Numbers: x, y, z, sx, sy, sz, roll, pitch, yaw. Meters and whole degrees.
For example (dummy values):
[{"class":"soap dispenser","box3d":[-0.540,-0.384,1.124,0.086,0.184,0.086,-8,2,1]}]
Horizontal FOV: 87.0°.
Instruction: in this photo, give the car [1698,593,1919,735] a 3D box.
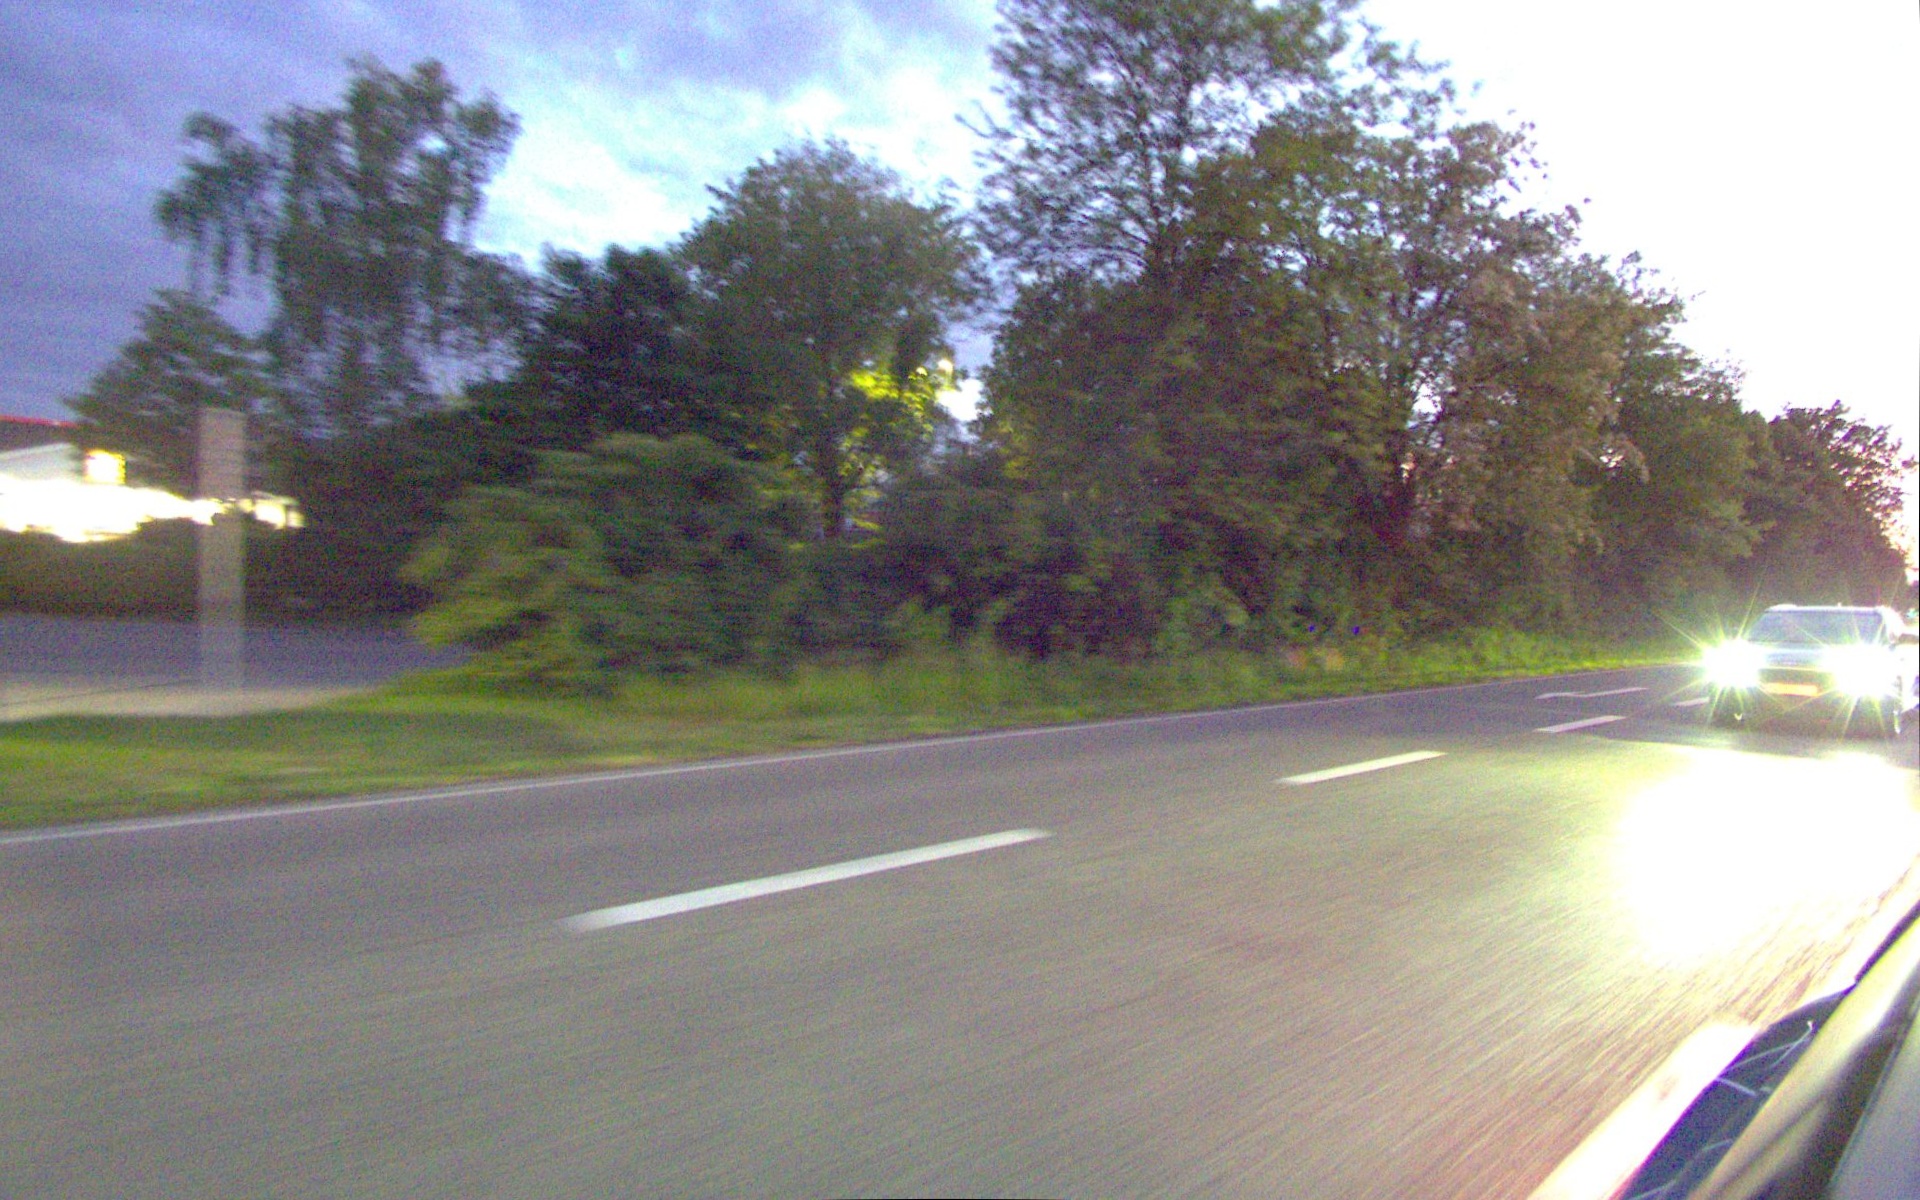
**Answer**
[{"class":"car","box3d":[12.020,0.754,13.969,4.629,1.630,1.997,1,0,-41]}]
